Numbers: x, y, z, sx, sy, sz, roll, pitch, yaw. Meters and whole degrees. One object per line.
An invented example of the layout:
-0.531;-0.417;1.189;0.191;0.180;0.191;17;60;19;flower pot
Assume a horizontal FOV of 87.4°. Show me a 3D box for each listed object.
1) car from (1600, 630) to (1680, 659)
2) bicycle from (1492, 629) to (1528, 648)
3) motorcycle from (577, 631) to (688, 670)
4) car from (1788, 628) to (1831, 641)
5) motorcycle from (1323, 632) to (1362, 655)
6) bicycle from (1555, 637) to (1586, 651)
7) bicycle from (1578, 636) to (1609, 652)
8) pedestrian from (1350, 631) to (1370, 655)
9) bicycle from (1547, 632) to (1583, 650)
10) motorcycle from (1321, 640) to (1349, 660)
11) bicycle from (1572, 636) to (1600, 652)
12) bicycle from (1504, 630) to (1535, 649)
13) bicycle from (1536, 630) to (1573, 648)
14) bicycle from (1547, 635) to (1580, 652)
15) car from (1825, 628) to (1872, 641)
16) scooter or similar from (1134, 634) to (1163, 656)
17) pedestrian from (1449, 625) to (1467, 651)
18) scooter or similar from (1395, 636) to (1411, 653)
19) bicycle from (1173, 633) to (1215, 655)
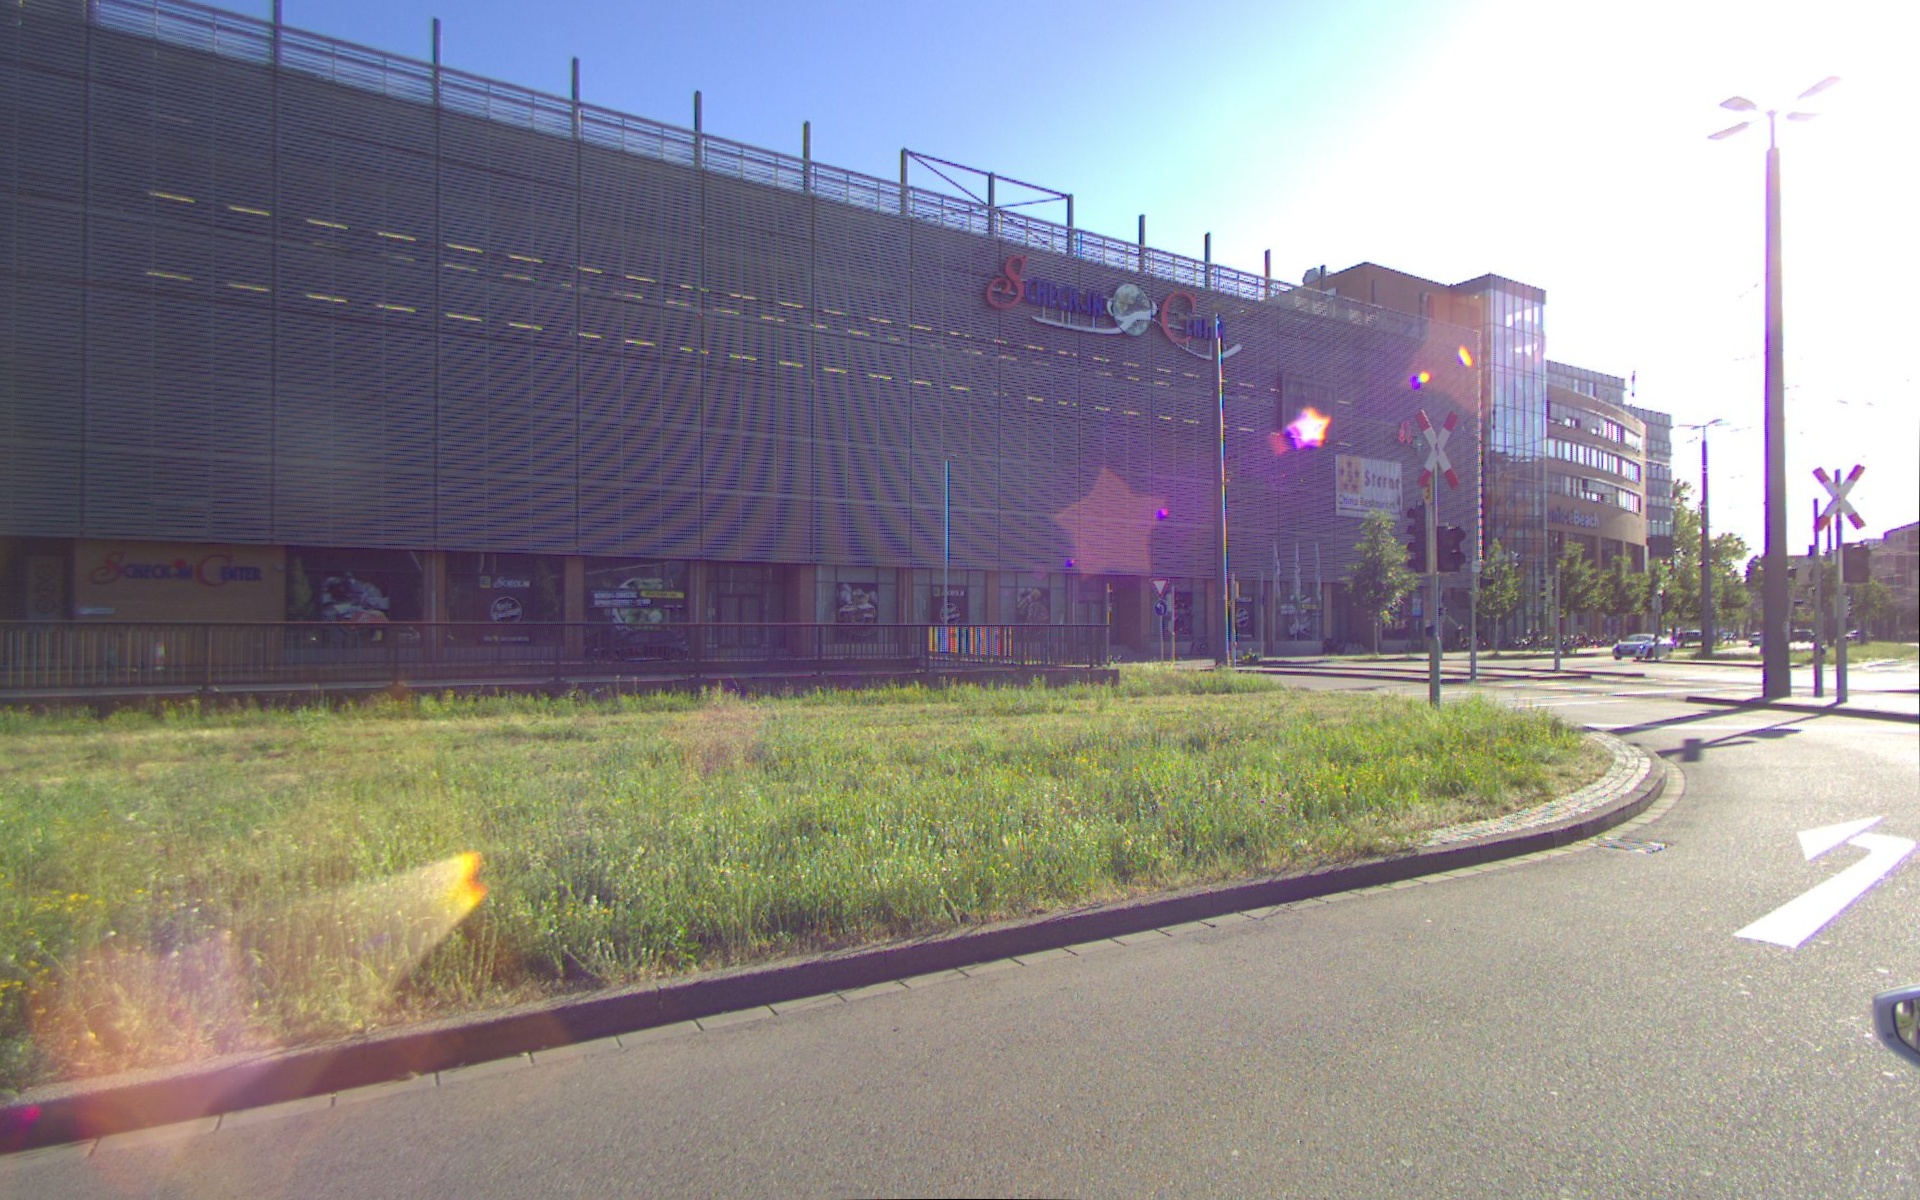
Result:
38.240;2.451;56.499;4.476;1.566;1.984;1;-1;-30;car
43.007;3.006;78.605;1.060;1.452;2.366;1;-3;-21;bicycle
-13.254;2.018;40.698;3.953;1.472;1.984;1;-2;-30;motorcycle
115.607;4.686;136.738;4.329;1.661;1.998;1;-1;-7;car
25.037;2.866;65.742;2.582;1.465;0.963;1;-1;-27;motorcycle
54.773;3.959;90.116;0.734;1.252;2.410;1;-3;-21;bicycle
58.162;4.047;92.281;0.777;1.452;2.417;1;-3;-21;bicycle
27.613;2.962;69.271;0.819;1.586;0.983;2;-3;-30;pedestrian
49.899;3.423;82.900;0.891;1.452;2.558;1;-3;-21;bicycle
23.886;3.194;63.974;1.872;1.255;0.672;2;-3;-31;motorcycle
57.229;4.024;91.850;0.747;1.452;2.135;1;-3;-21;bicycle
43.998;3.083;79.001;0.848;1.452;2.080;1;-3;-21;bicycle
48.187;3.153;81.414;0.891;1.452;2.558;1;-3;-21;bicycle
53.640;3.838;89.255;0.760;1.452;2.603;1;-3;-21;bicycle
117.190;4.573;132.464;4.323;1.661;2.001;0;-1;4;car
10.888;2.601;57.997;1.555;1.222;0.790;2;-3;-30;scooter or similar
36.053;2.757;72.674;0.894;1.848;0.823;2;-3;-29;pedestrian
30.770;3.104;69.732;1.138;1.124;0.419;2;-3;-30;scooter or similar
13.366;2.517;57.335;2.384;1.237;0.797;1;-1;-27;bicycle
